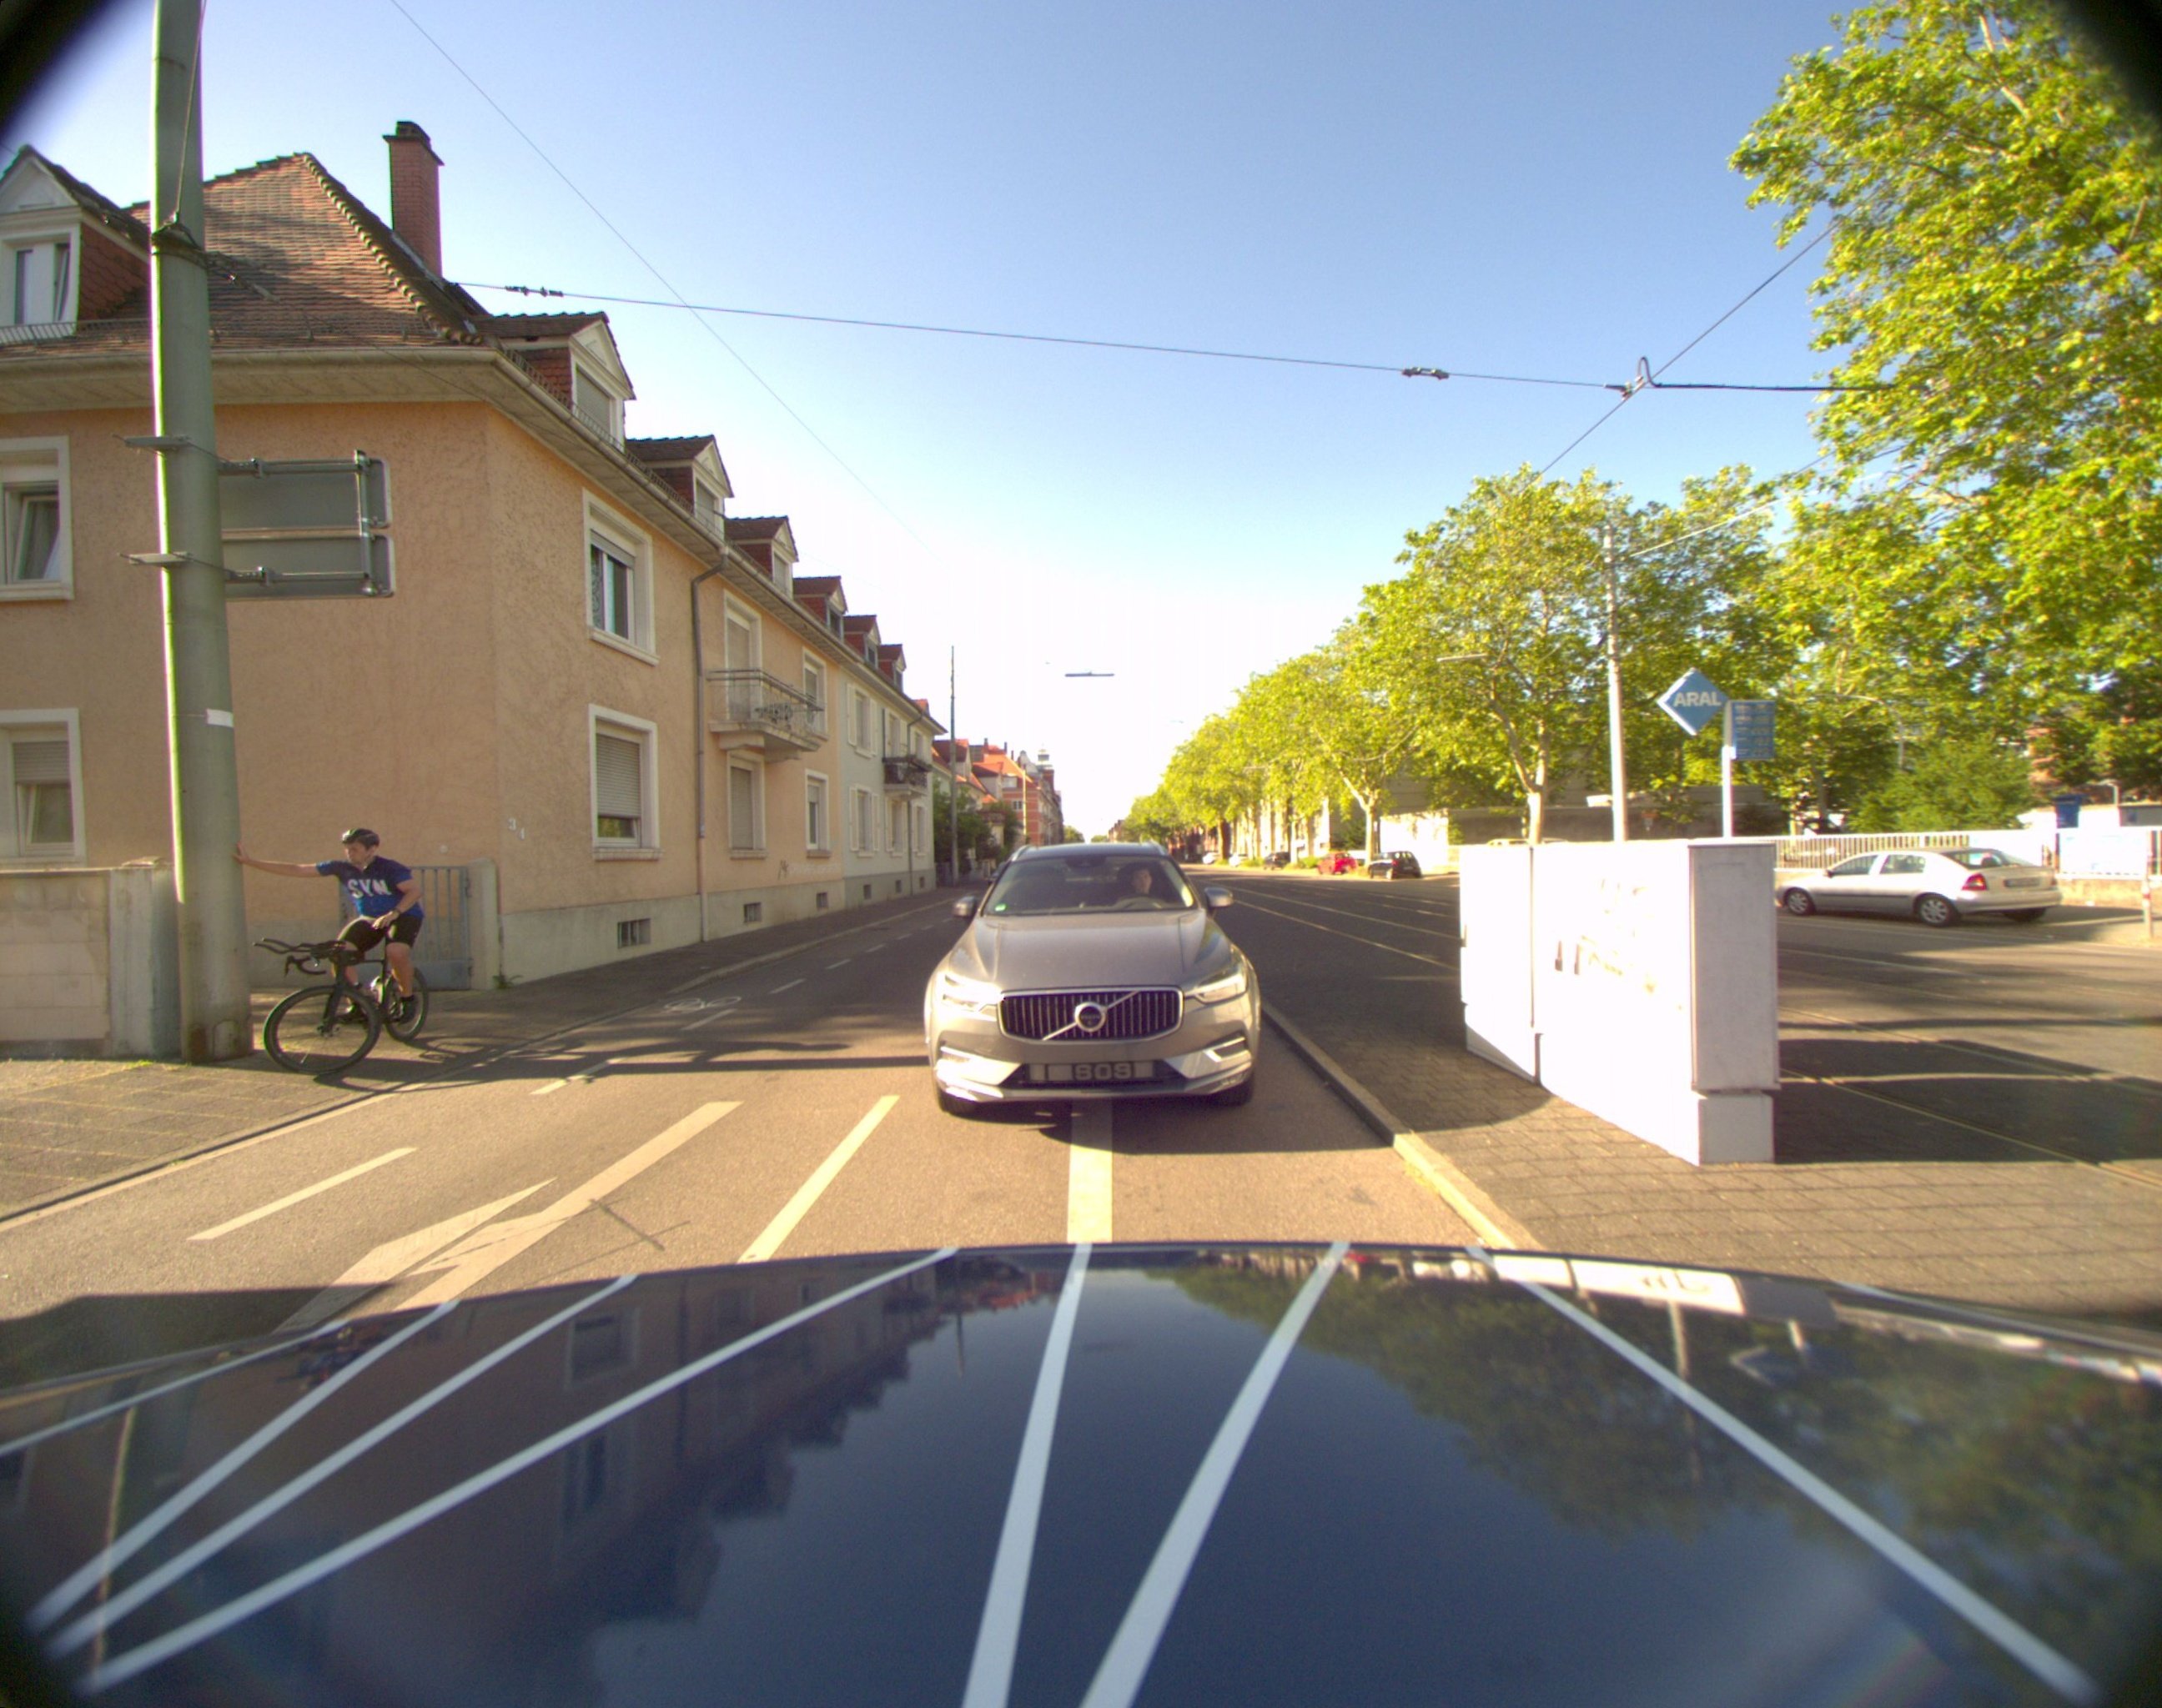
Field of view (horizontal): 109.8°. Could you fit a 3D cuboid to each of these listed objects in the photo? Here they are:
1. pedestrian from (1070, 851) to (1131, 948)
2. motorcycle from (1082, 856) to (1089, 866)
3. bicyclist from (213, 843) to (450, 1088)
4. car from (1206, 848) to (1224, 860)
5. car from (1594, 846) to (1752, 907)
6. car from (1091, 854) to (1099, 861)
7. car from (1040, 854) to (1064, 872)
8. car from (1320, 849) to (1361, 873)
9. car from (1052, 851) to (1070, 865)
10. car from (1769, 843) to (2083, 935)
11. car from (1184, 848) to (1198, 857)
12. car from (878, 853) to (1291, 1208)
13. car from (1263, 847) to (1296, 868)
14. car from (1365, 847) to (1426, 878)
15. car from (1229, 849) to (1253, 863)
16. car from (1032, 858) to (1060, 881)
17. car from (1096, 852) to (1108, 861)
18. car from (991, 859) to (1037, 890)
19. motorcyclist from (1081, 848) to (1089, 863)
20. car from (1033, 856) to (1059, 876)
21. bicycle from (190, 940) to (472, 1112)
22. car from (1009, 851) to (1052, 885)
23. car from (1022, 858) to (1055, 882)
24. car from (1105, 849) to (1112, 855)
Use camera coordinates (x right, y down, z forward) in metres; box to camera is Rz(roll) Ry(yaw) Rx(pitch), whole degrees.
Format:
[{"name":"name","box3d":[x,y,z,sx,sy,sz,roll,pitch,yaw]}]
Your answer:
[{"name":"pedestrian","box3d":[0.336,0.780,13.644,0.696,1.652,1.097,-3,1,-18]},{"name":"motorcycle","box3d":[0.516,0.819,90.021,0.792,1.095,2.519,0,0,1]},{"name":"bicyclist","box3d":[-6.142,0.861,6.289,1.076,1.854,0.846,2,1,1]},{"name":"car","box3d":[17.737,-0.013,100.670,1.802,1.504,4.000,-1,0,1]},{"name":"car","box3d":[16.436,0.574,21.339,1.692,1.455,3.519,-4,0,2]},{"name":"car","box3d":[3.276,0.767,179.120,1.998,1.543,4.000,-1,0,1]},{"name":"car","box3d":[-2.557,0.766,66.828,1.875,1.477,4.000,-1,0,1]},{"name":"car","box3d":[16.948,0.433,49.749,1.641,1.499,3.046,-1,0,1]},{"name":"car","box3d":[-2.200,0.448,85.490,1.875,1.477,4.000,-1,0,1]},{"name":"car","box3d":[16.250,0.596,14.990,1.795,1.455,3.966,-4,0,2]},{"name":"car","box3d":[18.199,-0.223,125.628,1.802,1.504,4.000,-1,0,1]},{"name":"car","box3d":[0.047,0.850,5.800,1.940,1.650,4.321,-1,0,1]},{"name":"car","box3d":[17.199,0.284,66.040,1.802,1.652,4.000,-1,0,1]},{"name":"car","box3d":[16.887,0.420,40.979,1.826,1.521,3.653,-2,0,1]},{"name":"car","box3d":[17.550,0.219,83.426,1.802,1.489,4.000,-1,0,1]},{"name":"car","box3d":[-2.462,1.084,54.438,1.785,1.468,4.000,-1,0,1]},{"name":"car","box3d":[3.630,0.386,134.241,1.998,1.543,4.000,-1,0,1]},{"name":"car","box3d":[-3.206,0.963,37.025,1.647,1.357,3.868,-1,0,4]},{"name":"motorcyclist","box3d":[0.474,0.178,89.892,0.827,1.832,1.159,-2,1,1]},{"name":"car","box3d":[-2.747,0.944,60.675,1.785,1.468,4.000,-1,0,1]},{"name":"bicycle","box3d":[-5.938,1.302,6.175,0.572,0.986,1.698,2,0,1]},{"name":"car","box3d":[-2.784,0.715,42.884,1.751,1.767,5.351,-1,0,3]},{"name":"car","box3d":[-2.679,0.990,48.303,1.785,1.346,4.000,-1,0,1]},{"name":"car","box3d":[8.205,-0.672,226.566,1.998,1.652,4.000,-1,0,1]}]
